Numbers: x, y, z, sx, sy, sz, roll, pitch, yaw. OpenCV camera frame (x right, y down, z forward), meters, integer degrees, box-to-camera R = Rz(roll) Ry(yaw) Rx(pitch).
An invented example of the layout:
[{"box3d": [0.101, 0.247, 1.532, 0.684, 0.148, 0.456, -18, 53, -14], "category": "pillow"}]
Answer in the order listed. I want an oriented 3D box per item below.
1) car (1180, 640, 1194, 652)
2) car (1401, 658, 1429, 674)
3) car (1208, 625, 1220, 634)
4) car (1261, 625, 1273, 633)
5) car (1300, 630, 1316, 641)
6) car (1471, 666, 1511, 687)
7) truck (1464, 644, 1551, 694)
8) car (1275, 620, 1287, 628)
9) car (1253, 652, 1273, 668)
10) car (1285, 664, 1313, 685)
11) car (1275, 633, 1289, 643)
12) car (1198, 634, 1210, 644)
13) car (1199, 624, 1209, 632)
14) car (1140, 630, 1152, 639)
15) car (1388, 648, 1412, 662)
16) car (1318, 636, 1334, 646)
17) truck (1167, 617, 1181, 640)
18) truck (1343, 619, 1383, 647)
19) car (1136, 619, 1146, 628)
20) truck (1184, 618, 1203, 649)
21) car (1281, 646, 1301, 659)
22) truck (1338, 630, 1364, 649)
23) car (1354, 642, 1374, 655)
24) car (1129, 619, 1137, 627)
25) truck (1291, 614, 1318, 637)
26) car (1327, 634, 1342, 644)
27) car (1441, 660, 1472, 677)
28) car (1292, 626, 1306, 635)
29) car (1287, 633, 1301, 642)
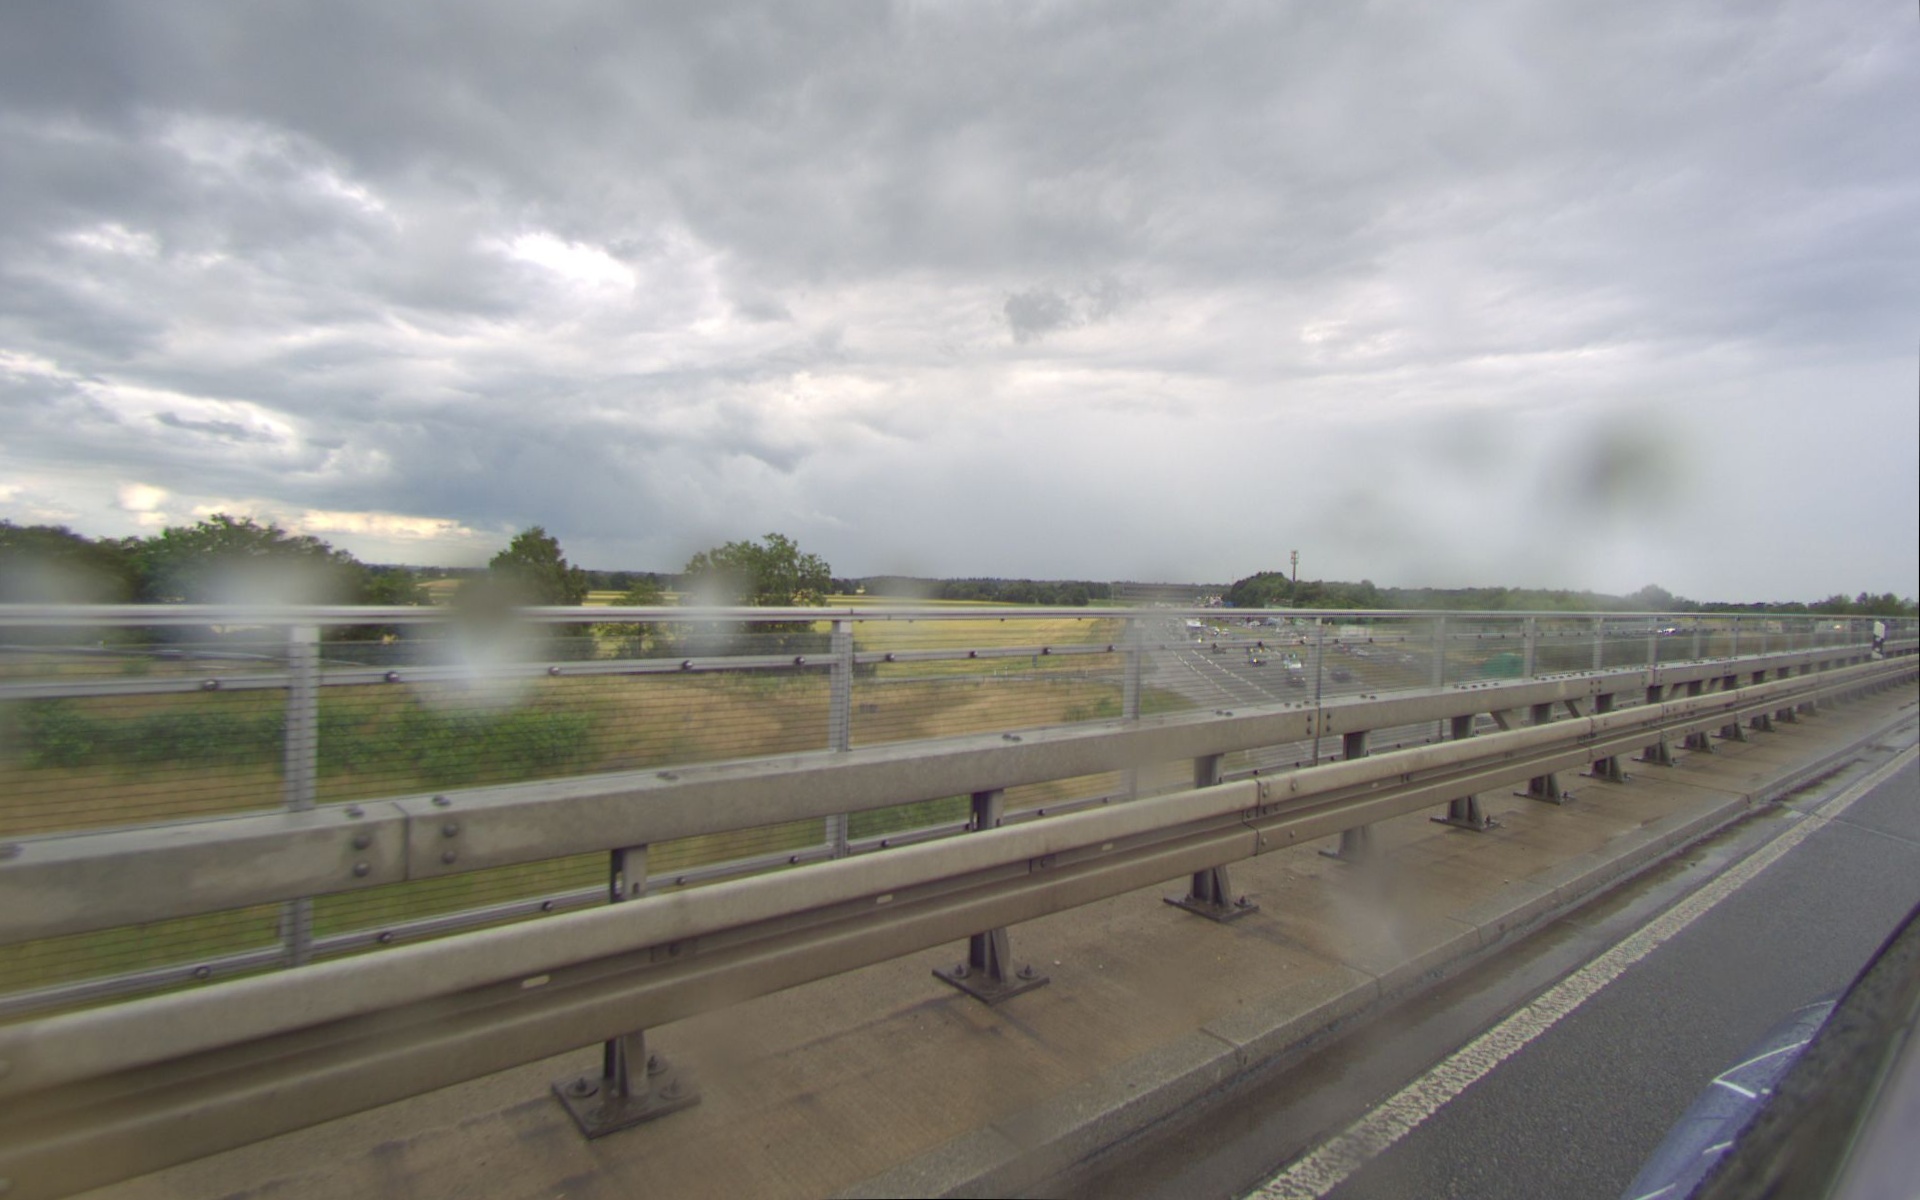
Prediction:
[{"box3d": [36.481, 7.398, 162.408, 1.826, 1.690, 4.712, 0, 0, 8], "category": "car"}, {"box3d": [55.052, 7.966, 122.535, 1.826, 1.690, 4.712, 0, 0, 8], "category": "car"}, {"box3d": [53.150, 6.105, 211.868, 1.826, 1.690, 4.712, 0, 0, 8], "category": "car"}, {"box3d": [66.527, 6.290, 219.102, 1.826, 1.690, 4.712, 0, 0, 8], "category": "car"}, {"box3d": [61.243, 6.222, 178.254, 1.826, 1.690, 4.712, 0, 0, 8], "category": "car"}, {"box3d": [51.918, 7.462, 99.025, 1.825, 1.690, 4.715, 0, 0, 6], "category": "car"}, {"box3d": [61.194, 7.543, 113.658, 3.545, 4.595, 15.587, 0, 0, 9], "category": "truck"}, {"box3d": [72.924, 5.393, 229.761, 1.826, 1.797, 4.712, 0, 0, 8], "category": "car"}, {"box3d": [38.870, 7.665, 129.954, 1.826, 1.690, 4.712, 0, 0, 8], "category": "car"}, {"box3d": [33.589, 7.353, 100.291, 1.826, 1.690, 4.712, 0, 0, 8], "category": "car"}, {"box3d": [63.491, 7.429, 199.392, 1.826, 1.690, 4.712, 0, 0, 8], "category": "car"}, {"box3d": [45.374, 7.272, 188.265, 1.826, 1.690, 4.712, 0, 0, 8], "category": "car"}, {"box3d": [53.744, 6.117, 222.903, 1.826, 1.690, 4.712, 0, 0, 8], "category": "car"}, {"box3d": [33.483, 6.112, 182.156, 1.783, 1.454, 4.714, 0, 0, 7], "category": "car"}, {"box3d": [59.729, 7.473, 137.526, 1.826, 1.690, 4.712, 0, 0, 8], "category": "car"}, {"box3d": [66.876, 7.523, 185.046, 1.826, 1.690, 4.712, 0, 0, 8], "category": "car"}, {"box3d": [46.610, 6.222, 220.459, 2.751, 4.676, 12.710, 0, 0, 12], "category": "truck"}, {"box3d": [75.367, 6.079, 189.606, 3.545, 4.595, 15.587, 0, 0, 9], "category": "truck"}, {"box3d": [37.042, 4.881, 207.559, 1.826, 1.690, 4.712, 0, 0, 8], "category": "car"}, {"box3d": [40.385, 5.784, 175.374, 2.751, 4.962, 12.710, 0, 0, 12], "category": "truck"}, {"box3d": [46.854, 7.410, 143.239, 1.826, 1.690, 4.712, 0, 0, 8], "category": "car"}, {"box3d": [68.237, 6.835, 176.748, 2.175, 3.003, 9.285, 0, 0, 8], "category": "truck"}, {"box3d": [62.793, 7.546, 157.281, 1.826, 1.690, 4.712, 0, 0, 8], "category": "car"}, {"box3d": [39.896, 5.229, 233.529, 1.826, 1.690, 4.712, 0, 0, 8], "category": "car"}, {"box3d": [83.234, 6.070, 244.887, 3.241, 5.230, 15.594, 0, 0, 8], "category": "truck"}, {"box3d": [71.825, 7.507, 194.190, 1.826, 1.690, 4.712, 0, 0, 8], "category": "car"}, {"box3d": [58.108, 8.016, 118.479, 1.826, 1.690, 4.712, 0, 0, 8], "category": "car"}, {"box3d": [70.239, 6.314, 209.836, 1.826, 1.690, 4.712, 0, 0, 8], "category": "car"}, {"box3d": [65.757, 7.368, 199.041, 1.826, 1.690, 4.712, 0, 0, 8], "category": "car"}]
